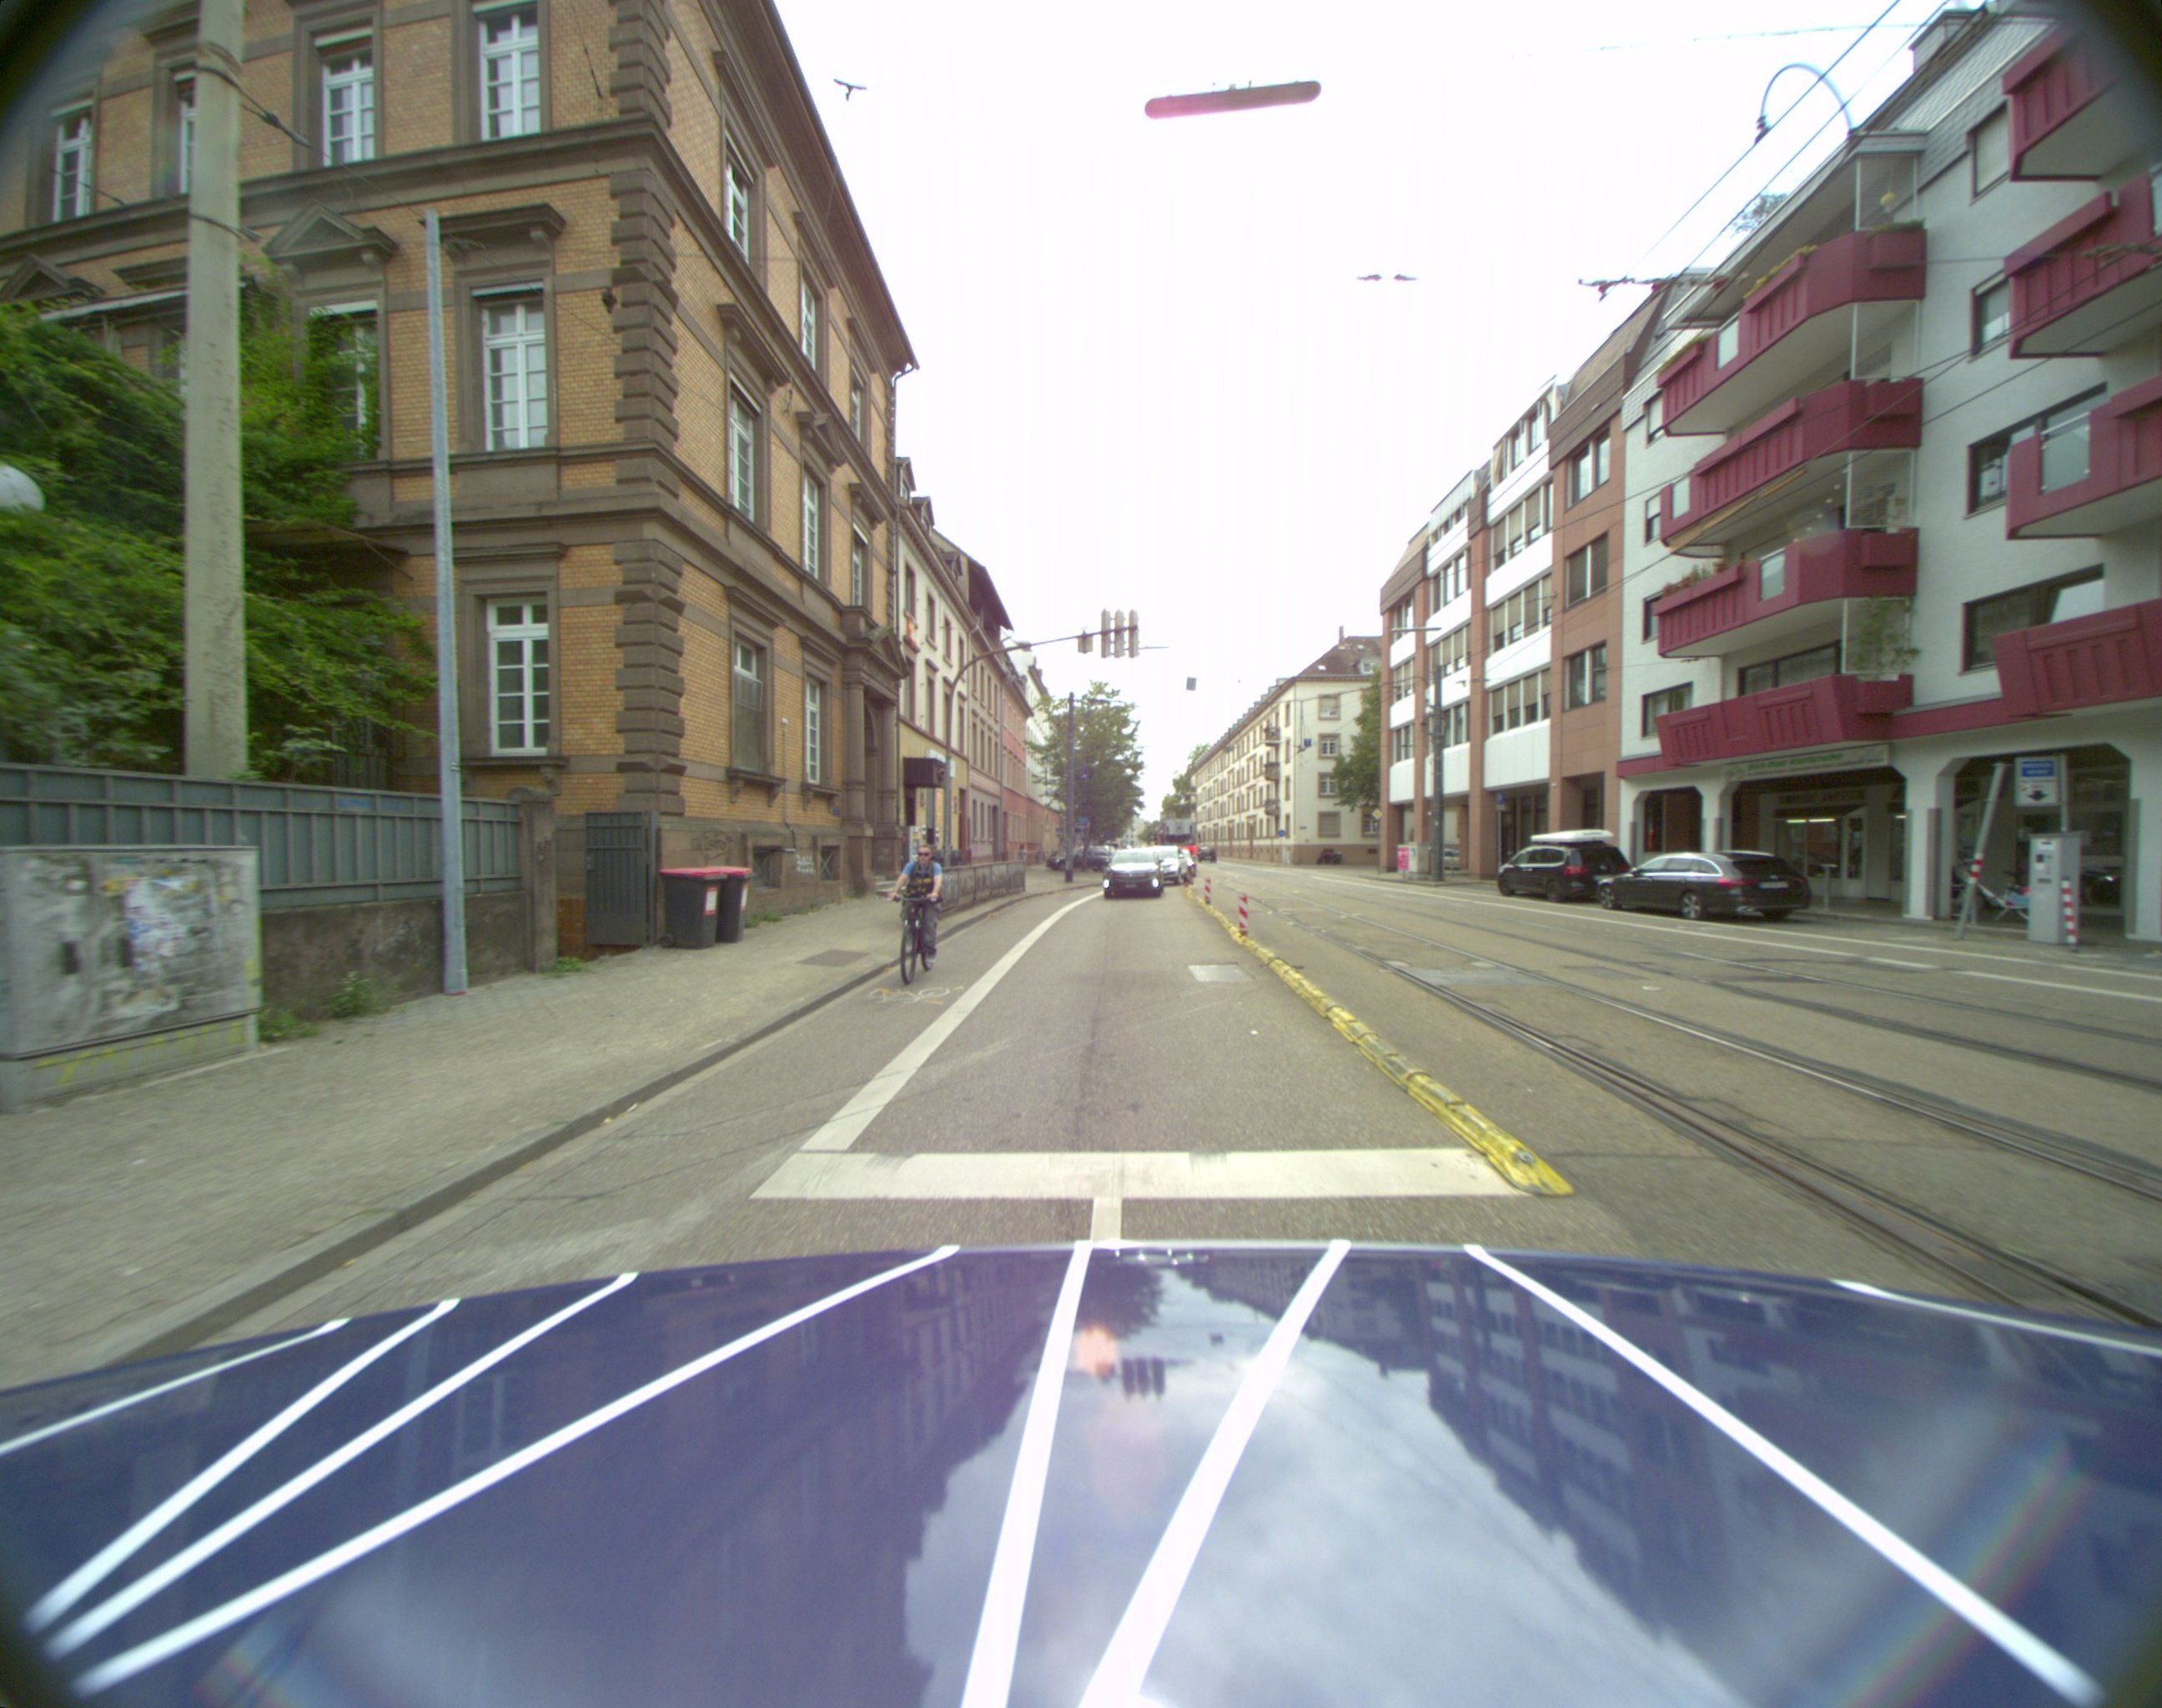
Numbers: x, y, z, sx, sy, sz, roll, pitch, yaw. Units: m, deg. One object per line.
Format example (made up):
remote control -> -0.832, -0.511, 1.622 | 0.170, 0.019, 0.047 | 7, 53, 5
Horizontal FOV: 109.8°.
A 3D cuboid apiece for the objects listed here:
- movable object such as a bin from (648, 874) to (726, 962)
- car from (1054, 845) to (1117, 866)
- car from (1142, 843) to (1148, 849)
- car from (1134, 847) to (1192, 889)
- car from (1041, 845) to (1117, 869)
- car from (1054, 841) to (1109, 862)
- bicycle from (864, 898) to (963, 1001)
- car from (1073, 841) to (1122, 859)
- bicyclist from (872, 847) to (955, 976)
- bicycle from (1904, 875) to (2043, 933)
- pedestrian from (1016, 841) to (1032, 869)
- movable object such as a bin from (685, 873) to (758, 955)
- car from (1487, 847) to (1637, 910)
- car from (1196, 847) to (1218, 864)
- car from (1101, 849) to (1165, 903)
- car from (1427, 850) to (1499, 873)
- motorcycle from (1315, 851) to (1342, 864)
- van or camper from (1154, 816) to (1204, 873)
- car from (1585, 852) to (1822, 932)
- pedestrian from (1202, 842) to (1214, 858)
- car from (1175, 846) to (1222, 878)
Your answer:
movable object such as a bin -> -5.283, 0.843, 10.223 | 0.652, 1.076, 0.677 | 3, 2, 0
car -> 0.316, 0.121, 57.126 | 4.350, 1.471, 1.786 | 1, 1, -20
car -> 18.731, -2.372, 221.876 | 1.899, 1.806, 4.001 | 0, 1, 5
car -> 3.551, 0.527, 32.183 | 1.771, 1.582, 4.286 | -1, 1, 15
car -> -0.113, 0.179, 50.063 | 4.633, 1.464, 1.786 | 1, 1, -20
car -> 0.046, -0.219, 63.711 | 4.244, 1.688, 1.736 | 1, 1, -20
bicycle -> -2.025, 1.130, 9.440 | 0.714, 1.012, 1.800 | -1, 1, 3
car -> 1.660, -0.412, 78.272 | 4.633, 1.688, 1.913 | 1, 1, -20
bicyclist -> -2.043, 0.670, 9.380 | 0.715, 1.498, 0.918 | -2, 1, 2
bicycle -> 16.478, 0.900, 14.096 | 0.566, 0.948, 1.649 | 0, 1, -3
pedestrian -> -3.495, 0.055, 46.410 | 0.732, 1.679, 0.926 | 4, 1, 3
movable object such as a bin -> -5.161, 0.847, 10.932 | 0.665, 1.076, 0.701 | 4, 2, 0
car -> 14.388, 0.641, 23.107 | 1.810, 1.638, 4.698 | -2, 1, 4
car -> 12.140, 0.162, 73.317 | 1.772, 1.528, 4.049 | -1, 1, 5
car -> 1.783, 0.653, 24.817 | 1.772, 1.539, 4.284 | -1, 1, 8
car -> 23.683, 0.433, 47.147 | 3.648, 1.380, 1.611 | 0, 1, -5
motorcycle -> 19.874, 0.266, 61.133 | 1.924, 1.080, 0.793 | 0, 1, 4
van or camper -> 6.378, -0.654, 50.743 | 2.606, 3.401, 9.653 | 0, 1, 3
car -> 13.830, 0.740, 17.330 | 1.758, 1.471, 4.698 | -2, 1, 4
pedestrian -> 14.723, -0.453, 88.072 | 1.016, 1.831, 1.003 | 1, 2, 44
car -> 6.226, 0.399, 39.919 | 1.771, 1.526, 4.053 | -1, 1, 19
